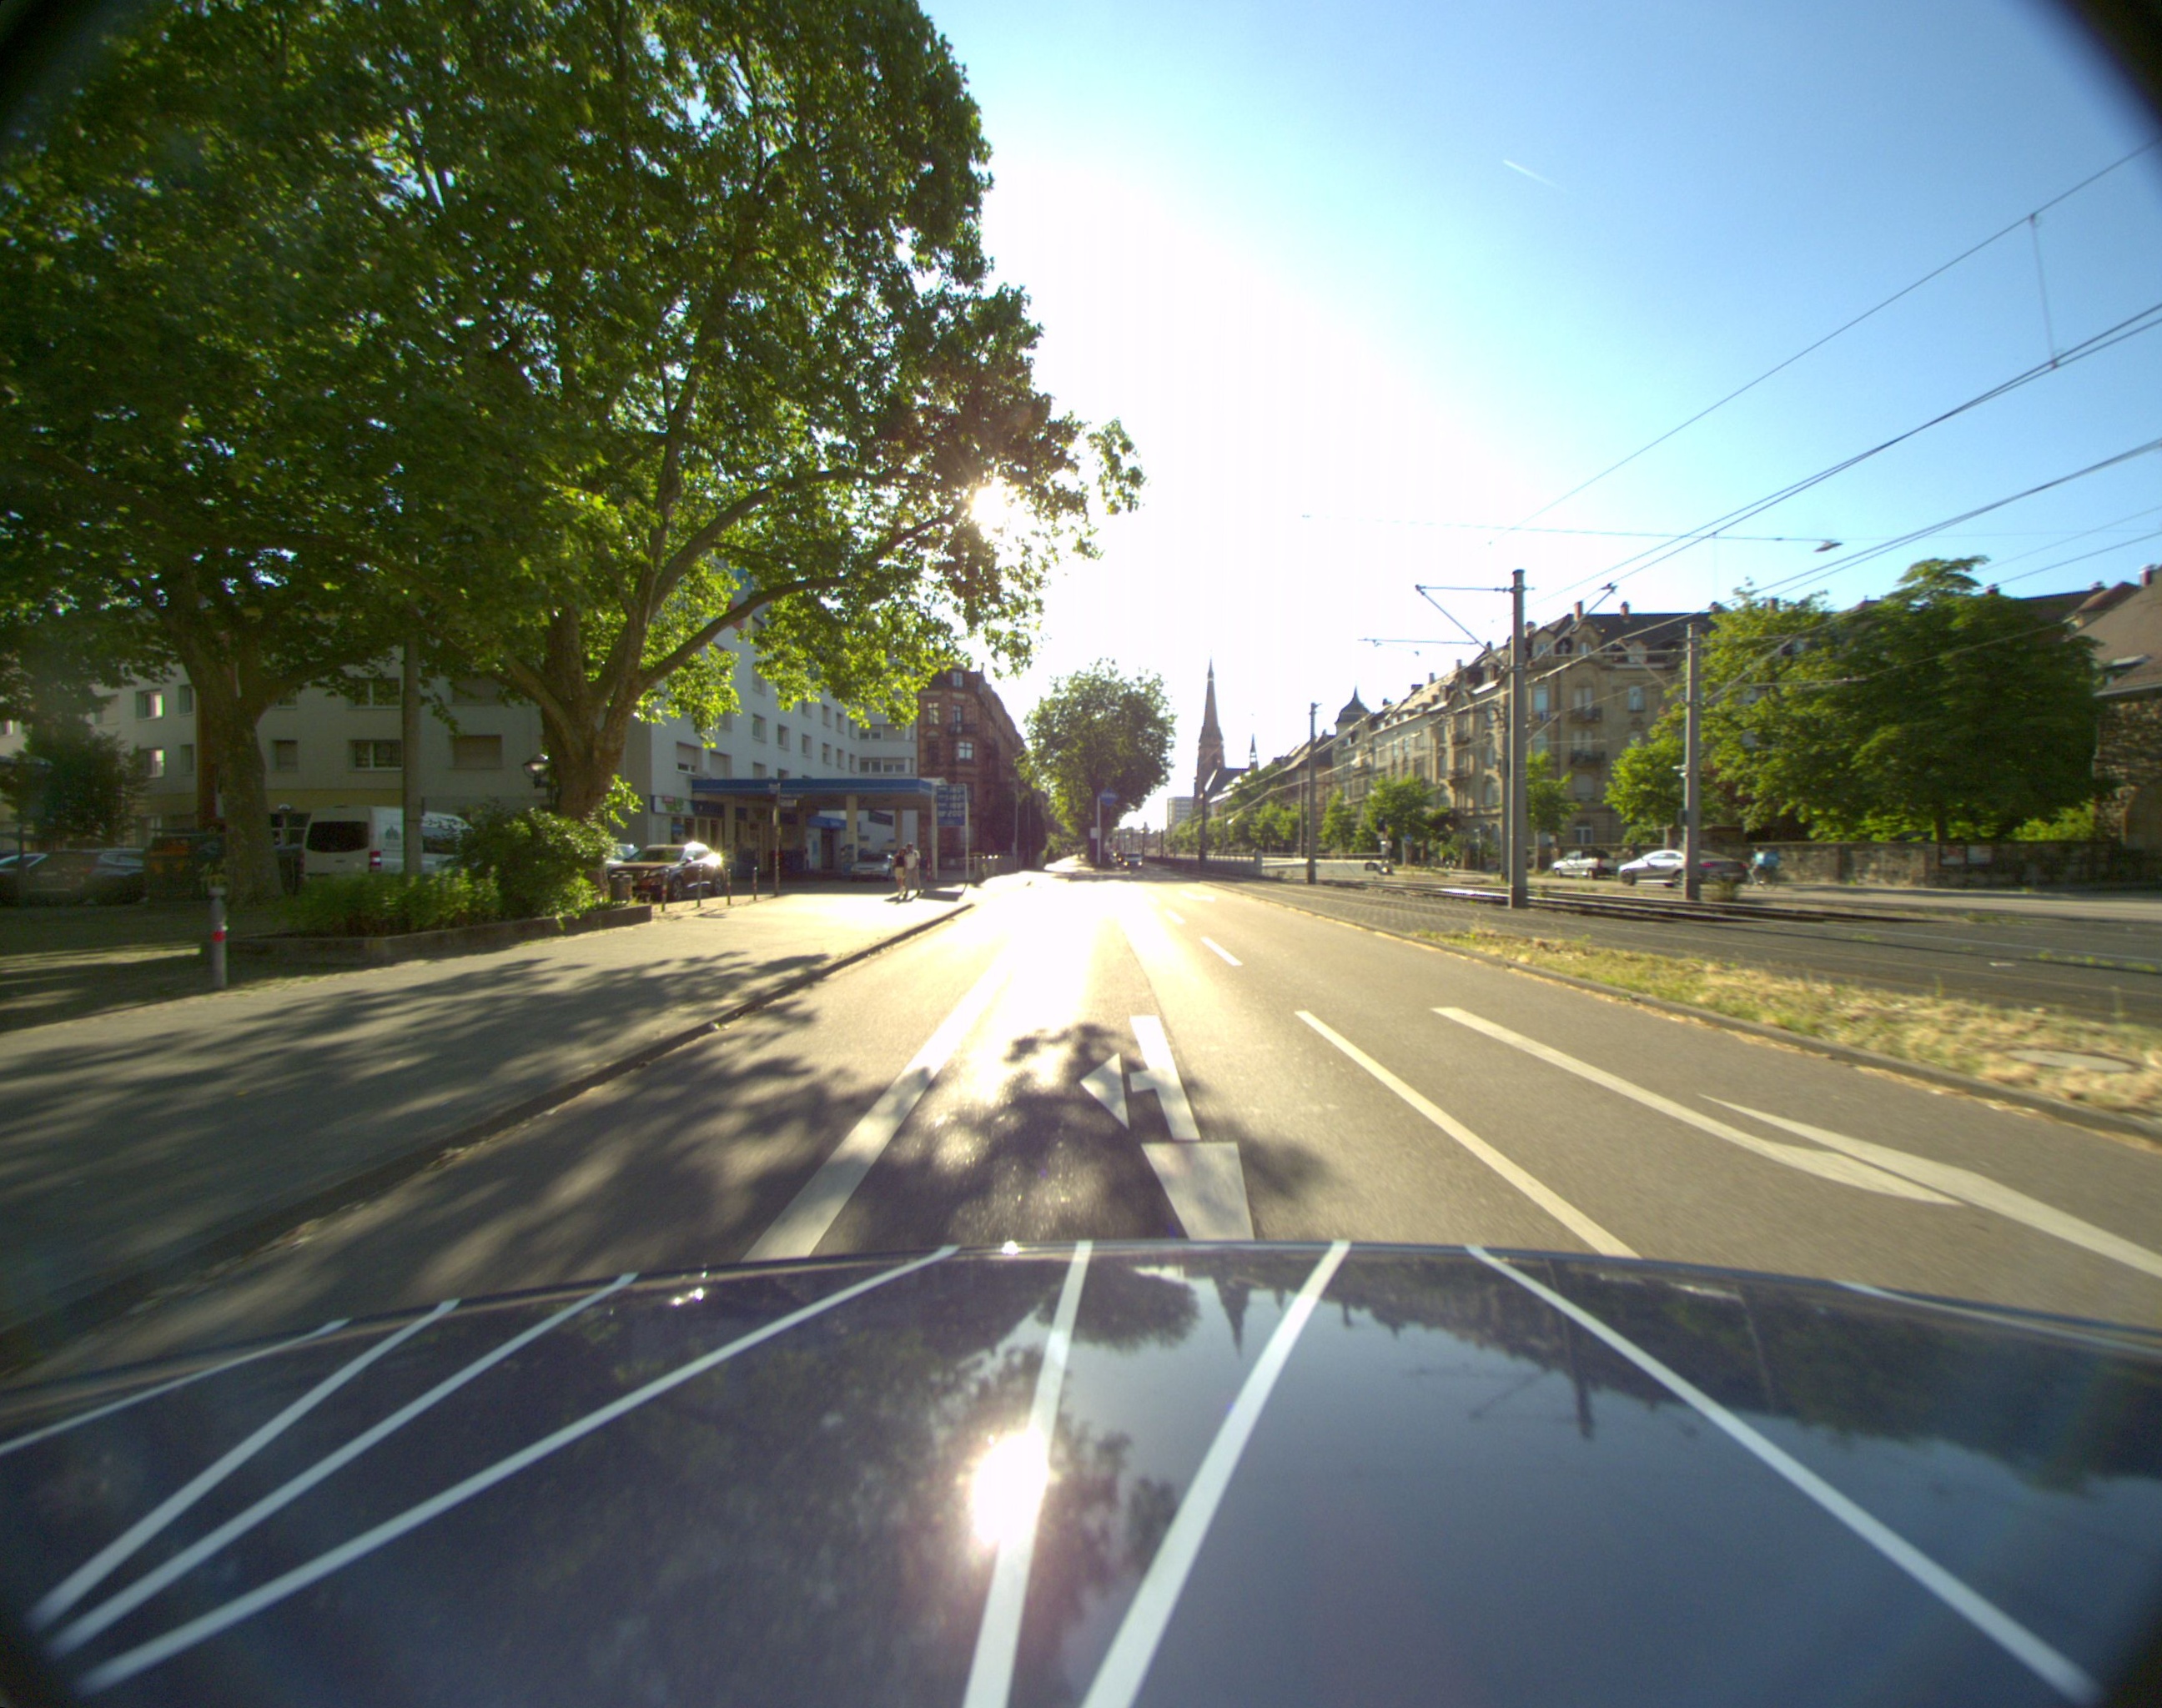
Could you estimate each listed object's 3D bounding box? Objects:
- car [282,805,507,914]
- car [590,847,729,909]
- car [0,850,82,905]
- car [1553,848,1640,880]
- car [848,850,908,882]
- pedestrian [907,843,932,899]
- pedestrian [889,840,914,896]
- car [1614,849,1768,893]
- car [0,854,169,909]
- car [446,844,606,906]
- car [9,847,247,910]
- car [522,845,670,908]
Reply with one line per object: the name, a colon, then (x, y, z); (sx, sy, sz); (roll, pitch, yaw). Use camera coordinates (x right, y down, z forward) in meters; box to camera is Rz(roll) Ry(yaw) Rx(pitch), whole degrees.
car: (-19.454, 0.104, 21.919); (1.998, 2.726, 4.714); (-2, 1, 1)
car: (-11.996, 0.621, 21.993); (1.807, 1.591, 4.179); (-1, 0, -2)
car: (-33.121, 0.720, 22.460); (1.711, 1.650, 4.179); (-1, 0, -2)
car: (27.287, 0.512, 40.405); (1.786, 1.521, 4.213); (-2, 1, 1)
car: (-9.506, 0.538, 35.829); (1.721, 1.319, 3.753); (-2, 1, 1)
pedestrian: (-5.368, 0.547, 25.313); (0.631, 1.833, 0.540); (-2, 1, -2)
pedestrian: (-6.023, 0.470, 25.477); (0.631, 1.833, 0.540); (-2, 1, -2)
car: (22.189, 0.563, 27.919); (1.998, 1.419, 4.553); (1, 1, 1)
car: (-30.281, 0.758, 22.436); (1.711, 1.493, 4.179); (-1, 0, -2)
car: (-16.344, 0.568, 22.685); (1.807, 1.649, 4.179); (-1, 0, -2)
car: (-27.763, 0.663, 22.402); (1.807, 1.649, 4.179); (-1, 0, -2)
car: (-14.144, 0.607, 22.490); (1.807, 1.649, 4.179); (-1, 0, -2)
